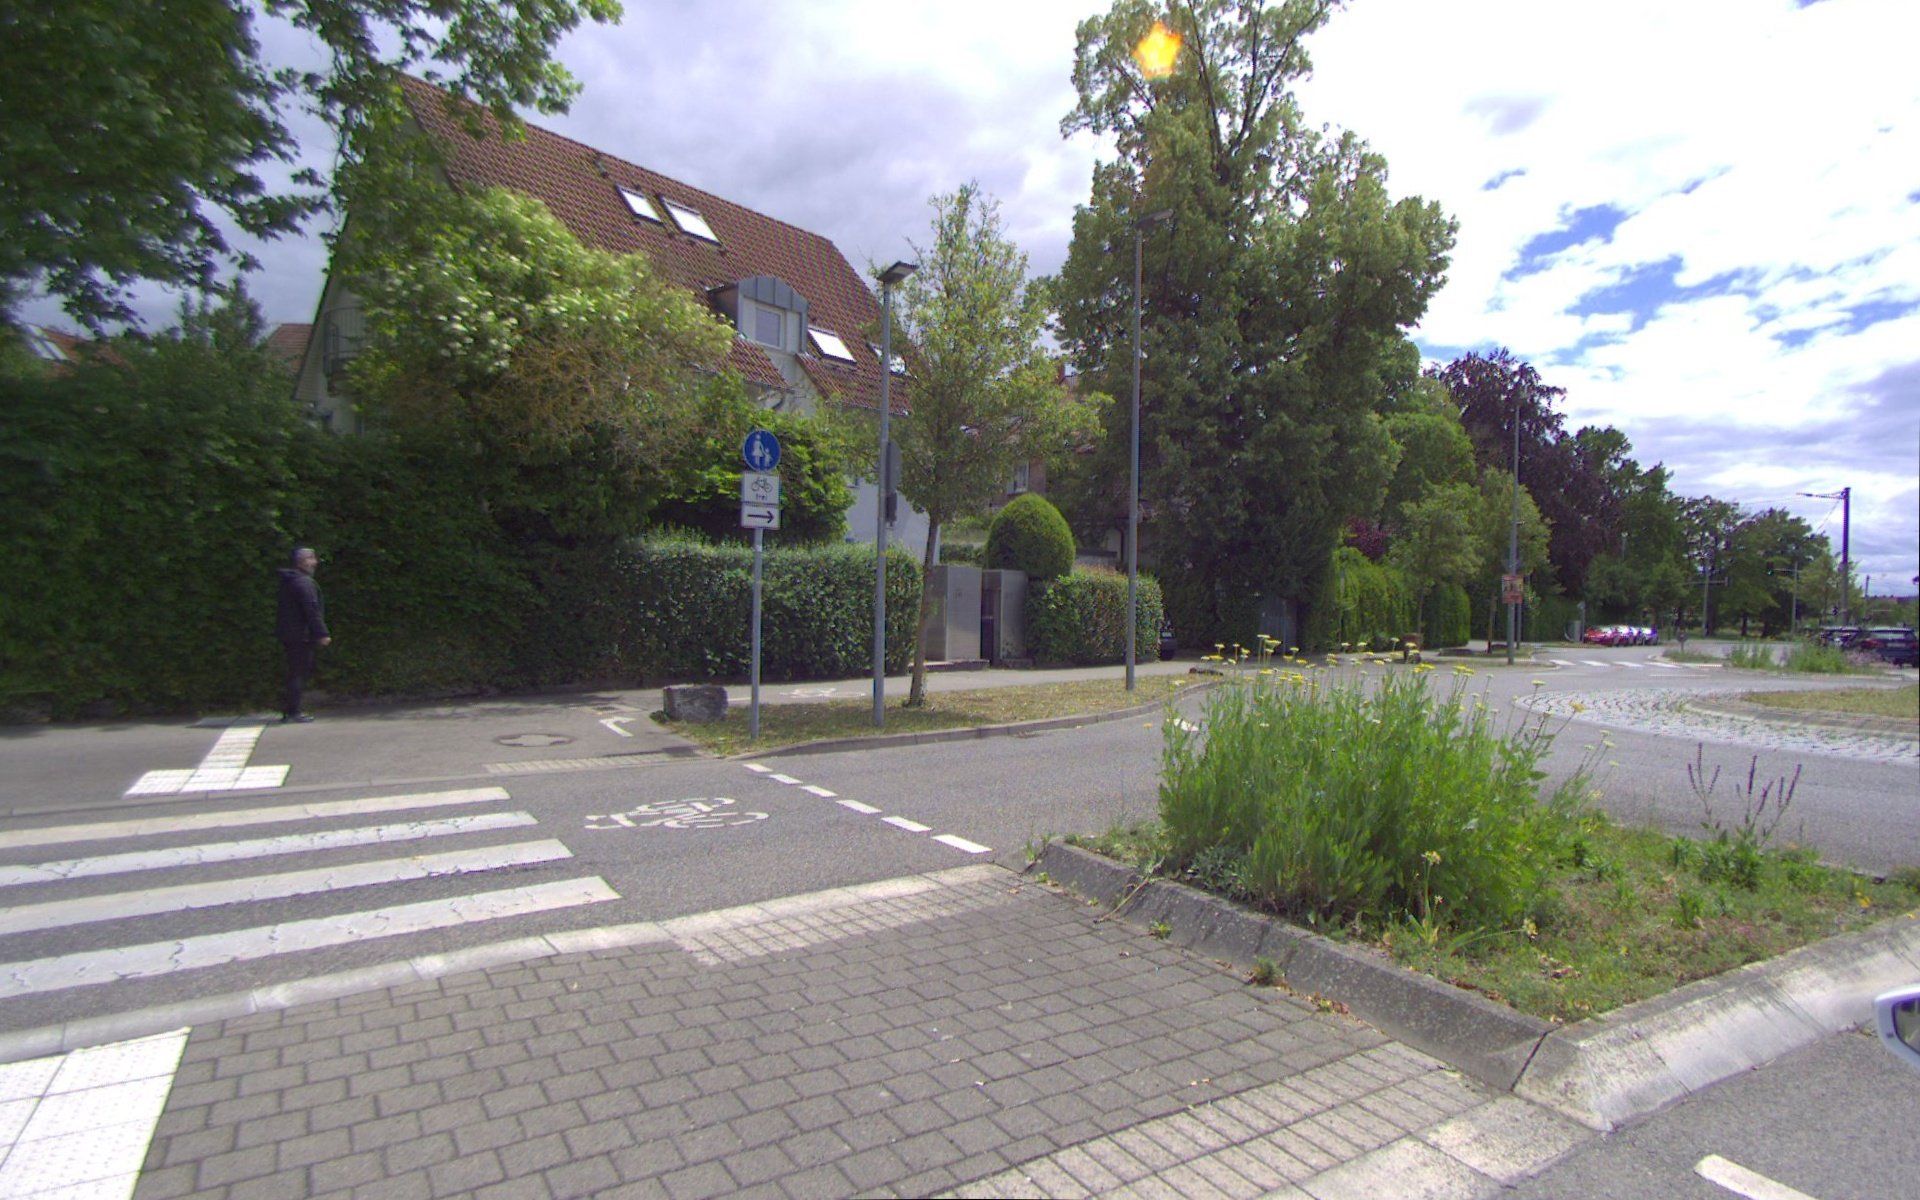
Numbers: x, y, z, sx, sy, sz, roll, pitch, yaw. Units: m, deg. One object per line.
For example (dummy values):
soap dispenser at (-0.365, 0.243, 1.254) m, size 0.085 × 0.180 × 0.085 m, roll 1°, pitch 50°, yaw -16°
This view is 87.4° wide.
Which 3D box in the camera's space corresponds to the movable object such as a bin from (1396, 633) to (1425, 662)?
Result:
movable object such as a bin at (14.000, 1.459, 31.216) m, size 0.634 × 0.874 × 0.625 m, roll 1°, pitch -1°, yaw -39°

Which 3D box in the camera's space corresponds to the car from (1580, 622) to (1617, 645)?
car at (43.387, 2.254, 68.316) m, size 2.033 × 1.405 × 4.038 m, roll 2°, pitch 1°, yaw 31°

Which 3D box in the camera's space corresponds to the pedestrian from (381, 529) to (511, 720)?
pedestrian at (-5.828, 0.266, 11.410) m, size 0.860 × 2.040 × 1.037 m, roll 0°, pitch 0°, yaw 37°

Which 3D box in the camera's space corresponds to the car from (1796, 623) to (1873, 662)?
car at (40.341, 1.915, 46.407) m, size 1.891 × 1.521 × 3.917 m, roll 2°, pitch 1°, yaw 30°

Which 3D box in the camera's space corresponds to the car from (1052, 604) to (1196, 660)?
car at (4.774, 0.895, 29.657) m, size 1.981 × 1.506 × 3.959 m, roll 1°, pitch -1°, yaw -36°

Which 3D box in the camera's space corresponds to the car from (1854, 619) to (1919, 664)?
car at (36.552, 1.605, 39.542) m, size 1.912 × 1.558 × 3.902 m, roll 2°, pitch 1°, yaw 43°
